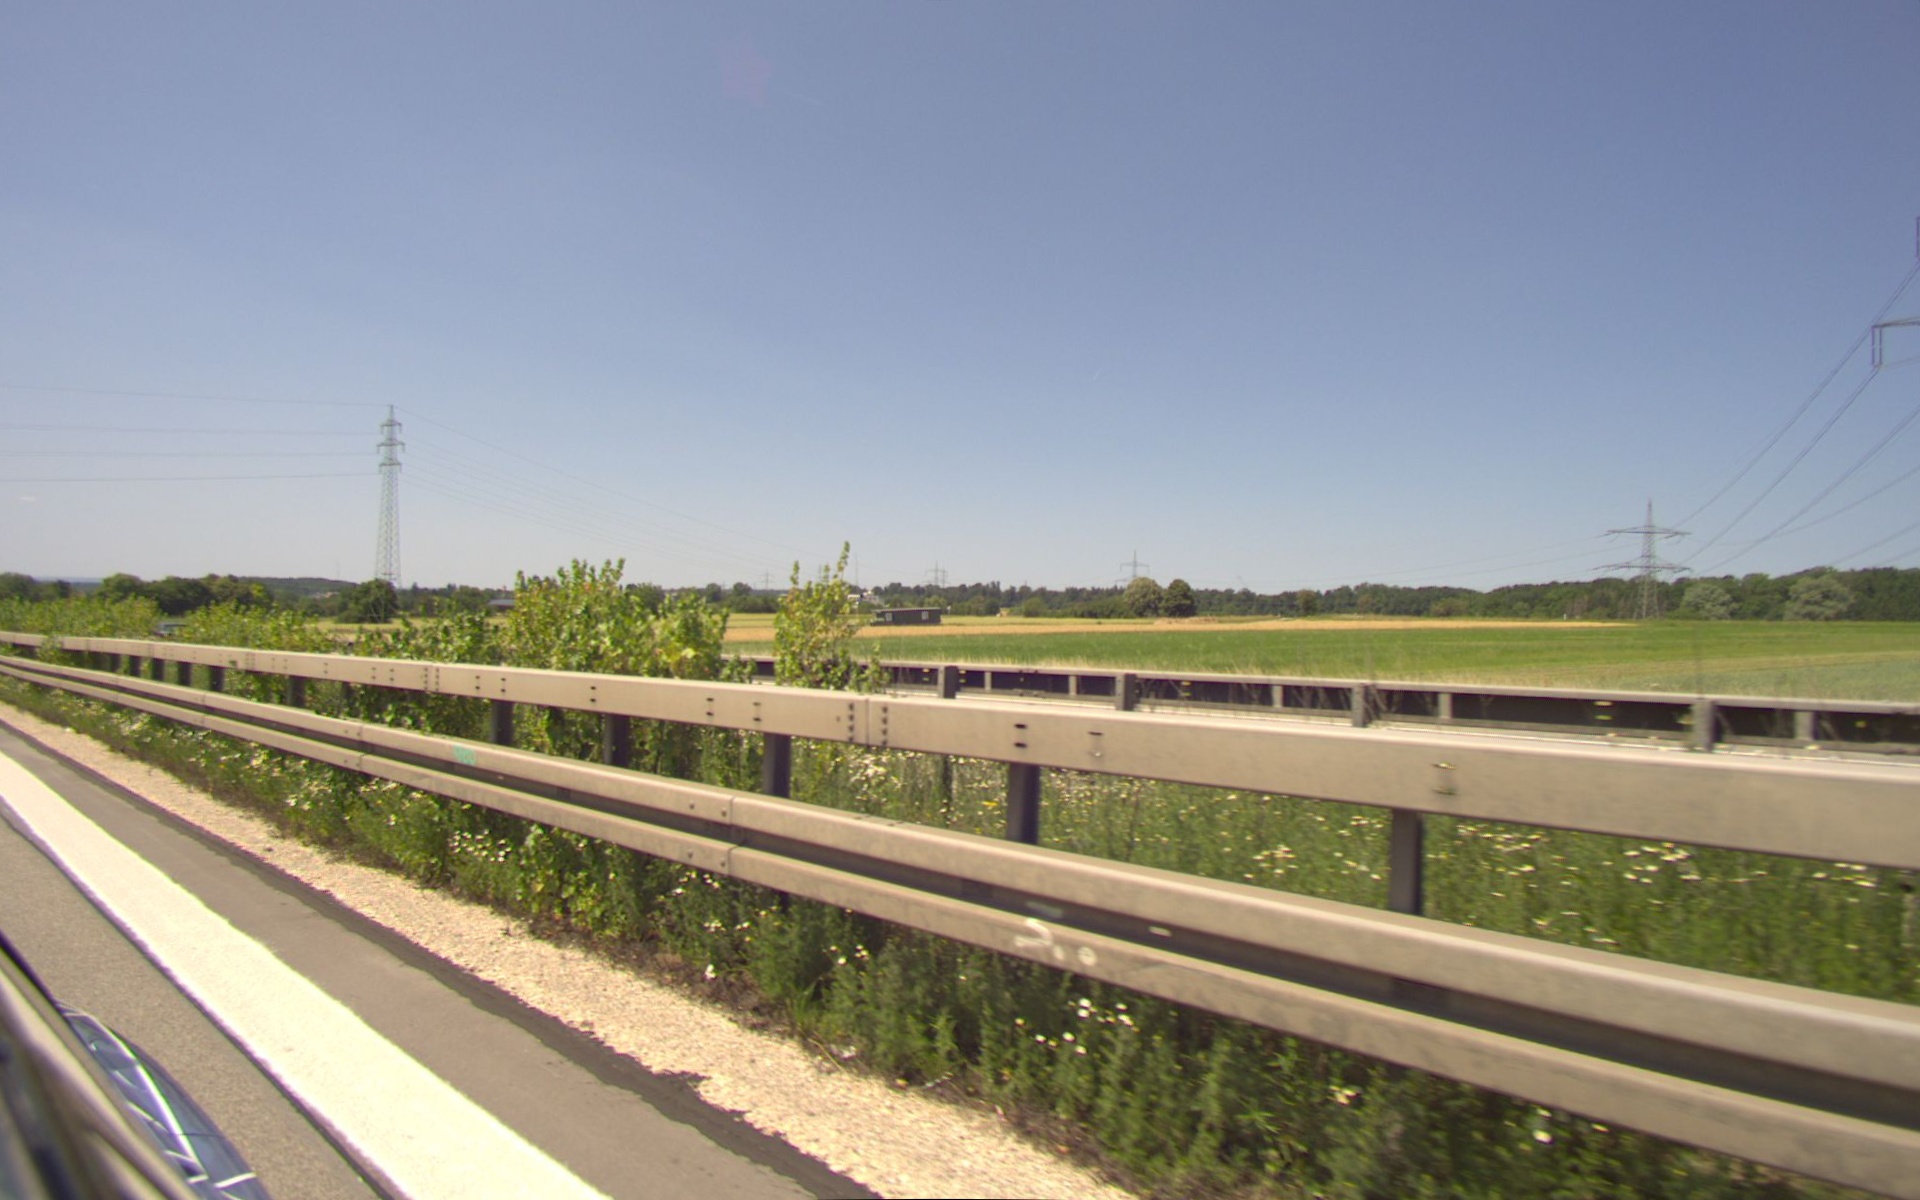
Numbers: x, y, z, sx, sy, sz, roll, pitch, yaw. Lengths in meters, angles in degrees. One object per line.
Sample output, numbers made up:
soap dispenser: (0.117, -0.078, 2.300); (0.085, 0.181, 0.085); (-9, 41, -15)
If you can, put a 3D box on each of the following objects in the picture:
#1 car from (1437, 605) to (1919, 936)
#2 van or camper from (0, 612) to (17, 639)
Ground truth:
car: (4.925, 0.878, 6.175); (3.353, 1.670, 1.581); (-1, 0, 40)
van or camper: (-92.855, 2.468, 97.507); (6.594, 2.527, 2.204); (-1, 0, 41)
